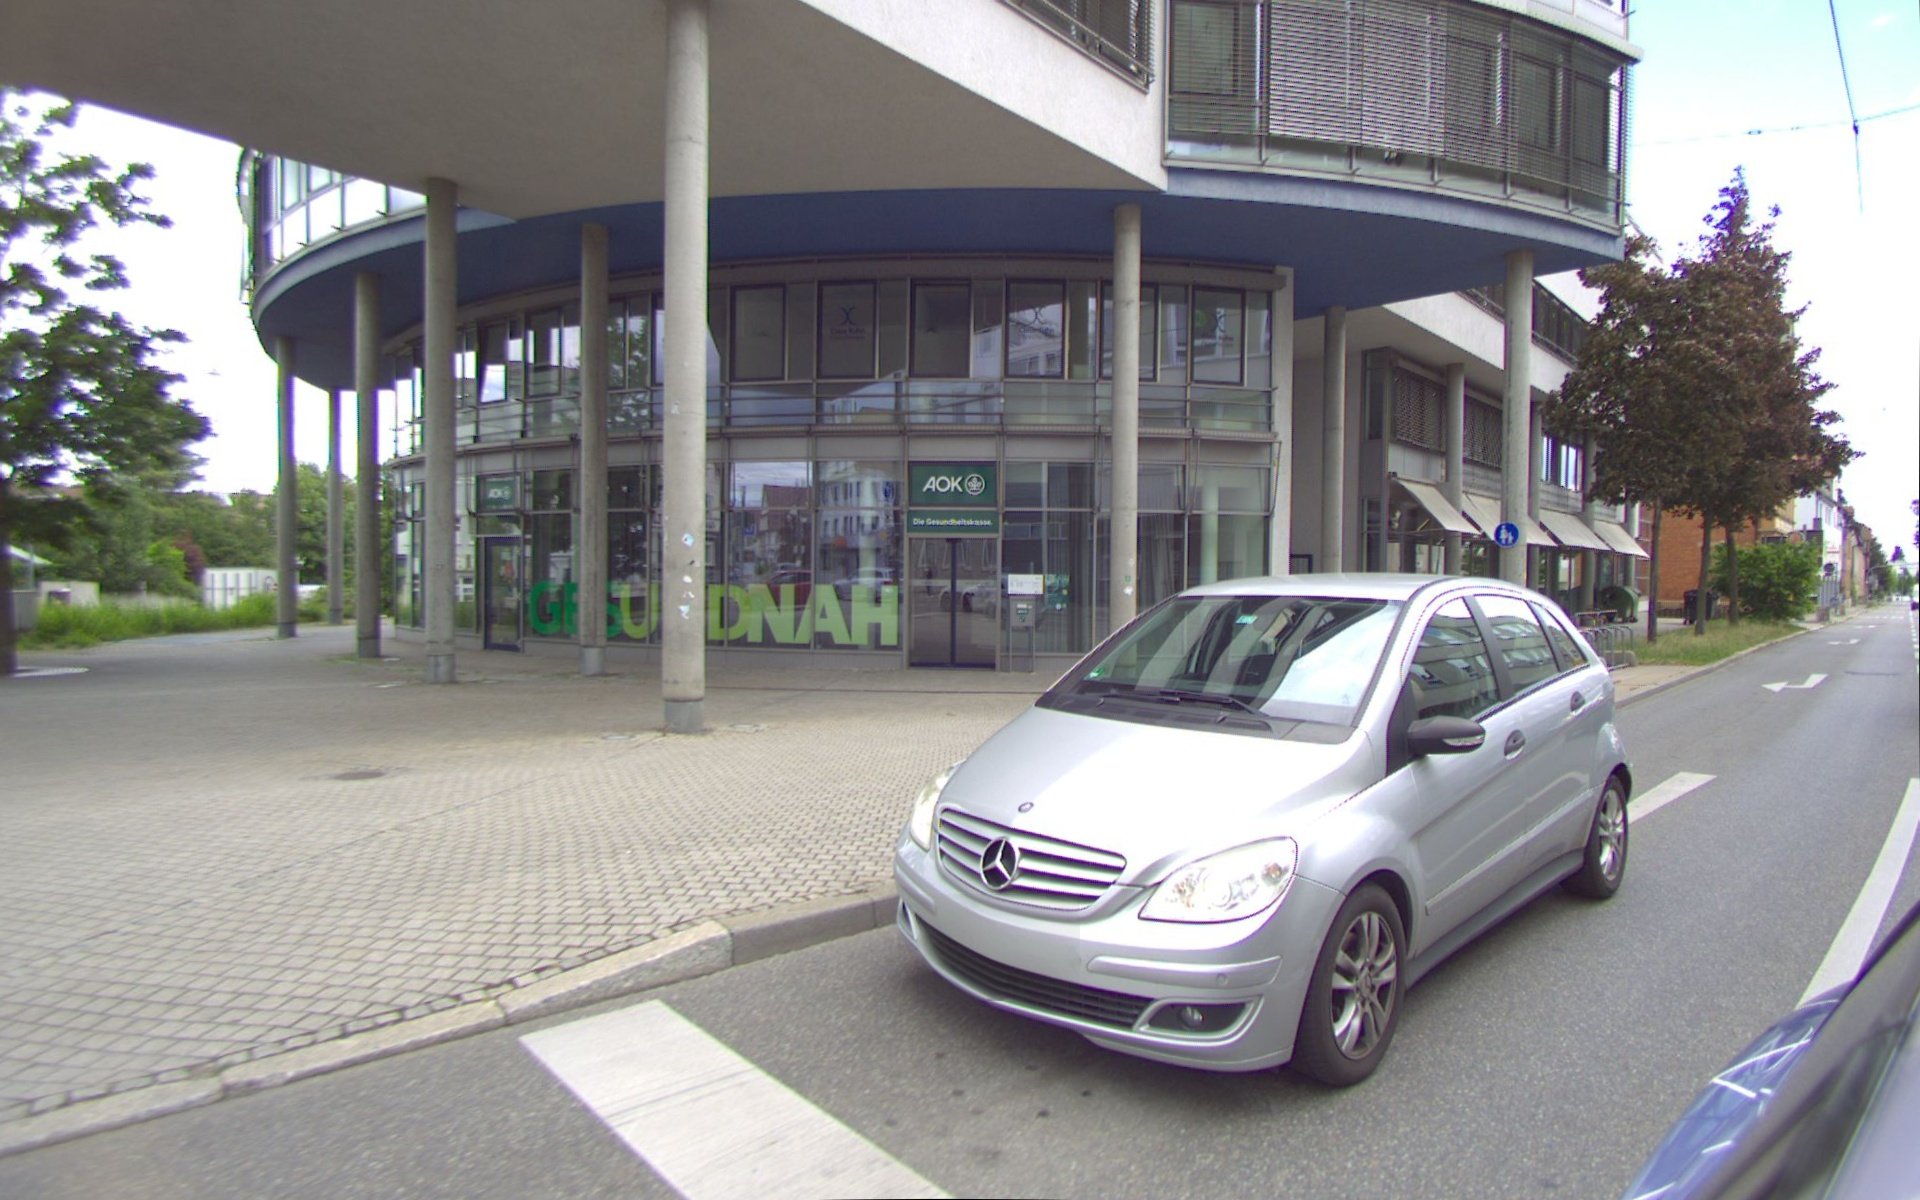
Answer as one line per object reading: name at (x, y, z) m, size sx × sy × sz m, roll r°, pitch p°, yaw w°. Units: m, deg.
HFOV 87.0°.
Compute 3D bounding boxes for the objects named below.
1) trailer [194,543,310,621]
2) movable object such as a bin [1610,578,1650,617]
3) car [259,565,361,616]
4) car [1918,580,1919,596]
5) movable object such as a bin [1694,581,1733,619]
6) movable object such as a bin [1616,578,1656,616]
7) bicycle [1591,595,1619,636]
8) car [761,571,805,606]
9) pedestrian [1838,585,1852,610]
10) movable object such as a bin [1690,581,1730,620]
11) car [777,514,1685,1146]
trailer at (-25.752, -0.652, 37.008) m, size 1.845 × 2.646 × 4.331 m, roll 0°, pitch 1°, yaw -11°
movable object such as a bin at (26.501, -0.107, 40.023) m, size 1.098 × 1.483 × 1.312 m, roll 4°, pitch 3°, yaw 43°
car at (-26.629, -0.399, 41.663) m, size 1.845 × 1.970 × 4.915 m, roll 0°, pitch 1°, yaw -11°
car at (95.763, -1.168, 99.648) m, size 1.959 × 1.545 × 4.503 m, roll 2°, pitch 2°, yaw 42°
movable object such as a bin at (30.956, -0.021, 41.582) m, size 1.098 × 1.483 × 1.312 m, roll 4°, pitch 3°, yaw 43°
movable object such as a bin at (27.395, -0.131, 41.022) m, size 1.122 × 1.483 × 1.312 m, roll 4°, pitch 3°, yaw 43°
bicycle at (18.274, 0.433, 28.660) m, size 0.360 × 1.100 × 1.997 m, roll 0°, pitch 1°, yaw 42°
car at (-12.845, -0.896, 73.855) m, size 2.125 × 2.421 × 6.109 m, roll 1°, pitch 1°, yaw 0°
pedestrian at (61.882, -0.171, 70.764) m, size 0.688 × 1.752 × 0.640 m, roll 2°, pitch 1°, yaw 42°
movable object such as a bin at (30.066, 0.006, 40.564) m, size 1.127 × 1.483 × 1.391 m, roll 4°, pitch 3°, yaw 43°
car at (1.608, 0.552, 4.767) m, size 4.492 × 1.566 × 1.996 m, roll -1°, pitch 0°, yaw -42°
